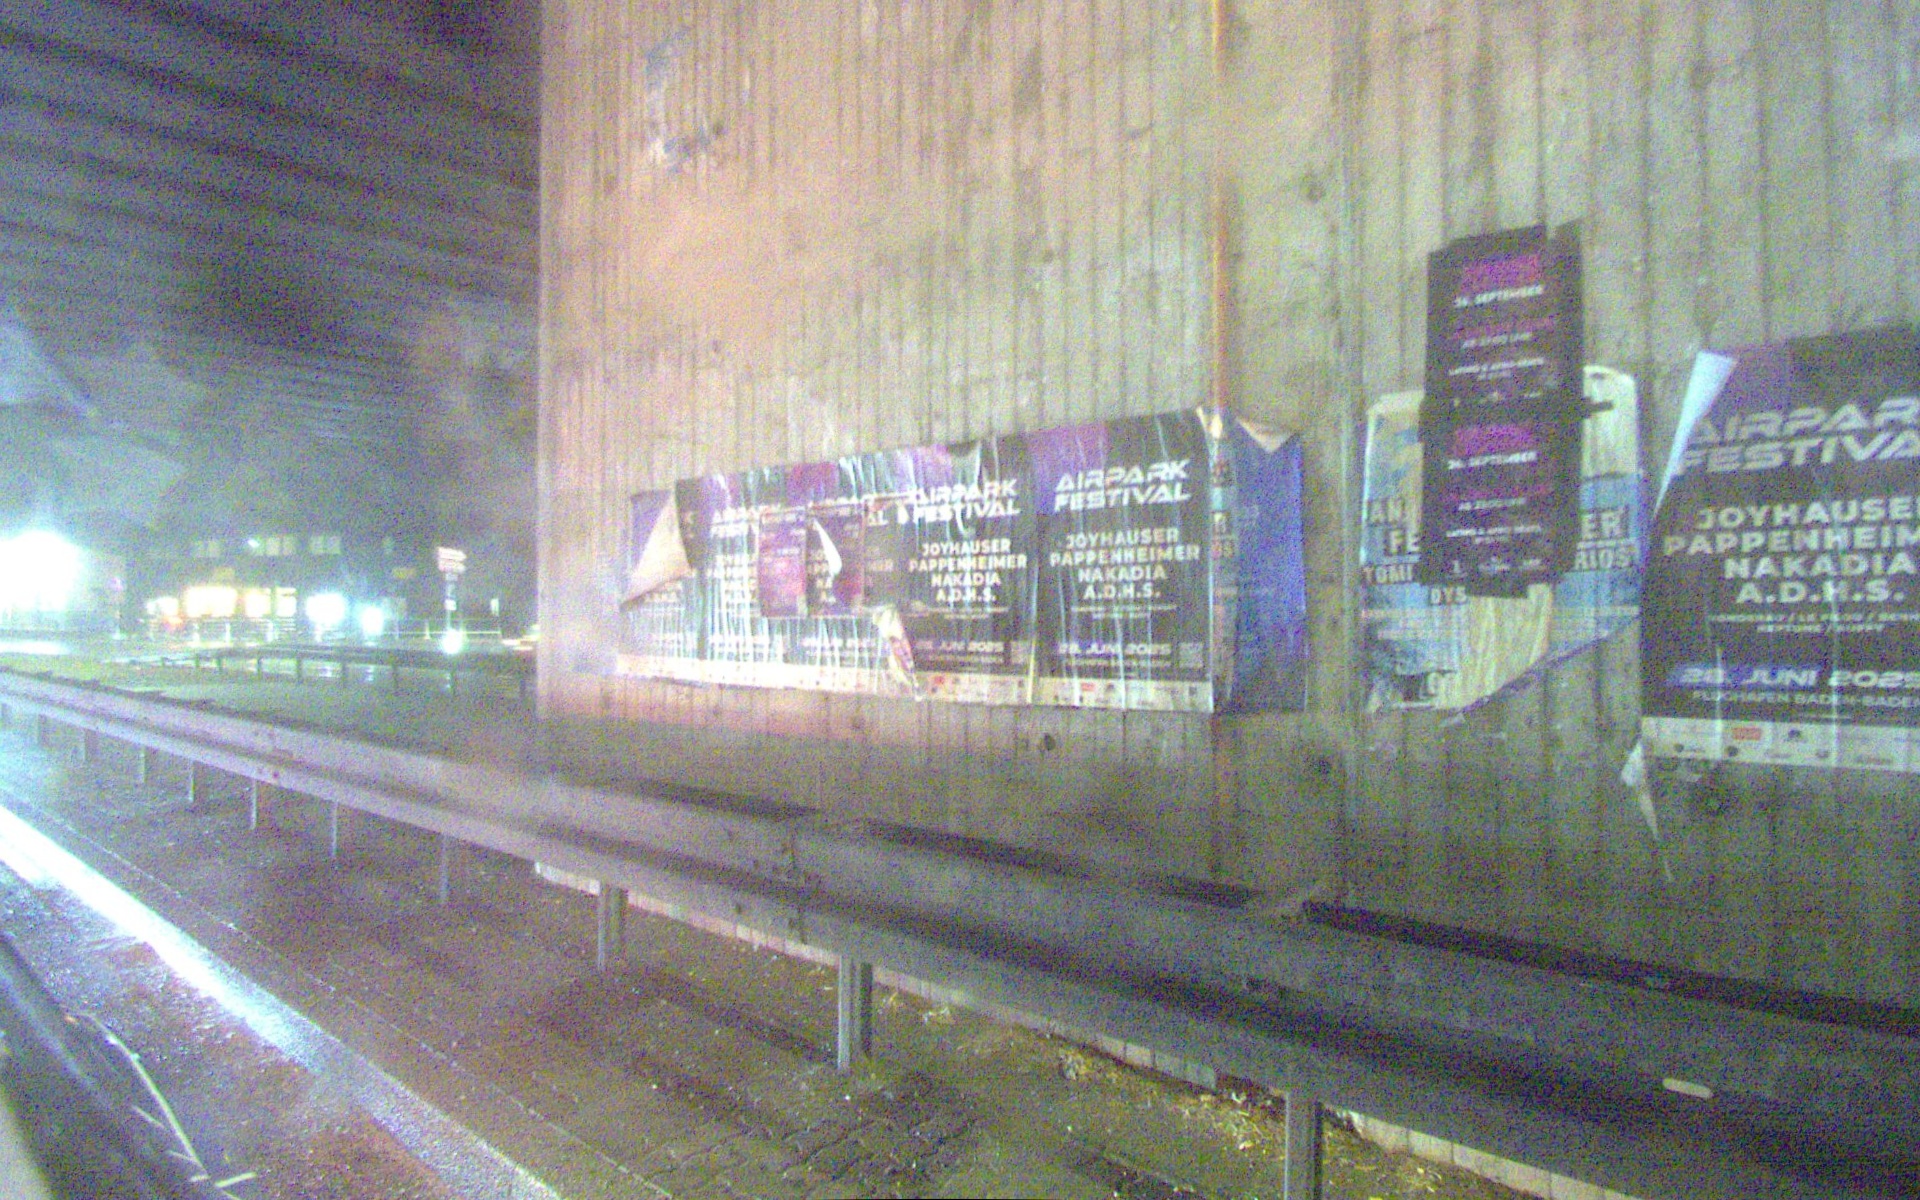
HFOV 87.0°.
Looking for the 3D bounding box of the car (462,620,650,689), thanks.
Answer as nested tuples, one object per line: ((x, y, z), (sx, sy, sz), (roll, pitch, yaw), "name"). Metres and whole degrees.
((-9.727, 1.247, 24.277), (4.486, 1.498, 2.018), (0, -2, 34), "car")

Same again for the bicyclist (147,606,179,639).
((-34.995, 0.980, 44.440), (1.181, 1.446, 0.624), (0, -2, 24), "bicyclist")

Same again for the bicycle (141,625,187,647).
((-34.940, 1.573, 44.415), (2.200, 0.912, 0.623), (0, -2, 24), "bicycle")

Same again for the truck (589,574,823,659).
((-14.286, 0.869, 58.509), (13.480, 4.474, 2.746), (0, -1, -43), "truck")
